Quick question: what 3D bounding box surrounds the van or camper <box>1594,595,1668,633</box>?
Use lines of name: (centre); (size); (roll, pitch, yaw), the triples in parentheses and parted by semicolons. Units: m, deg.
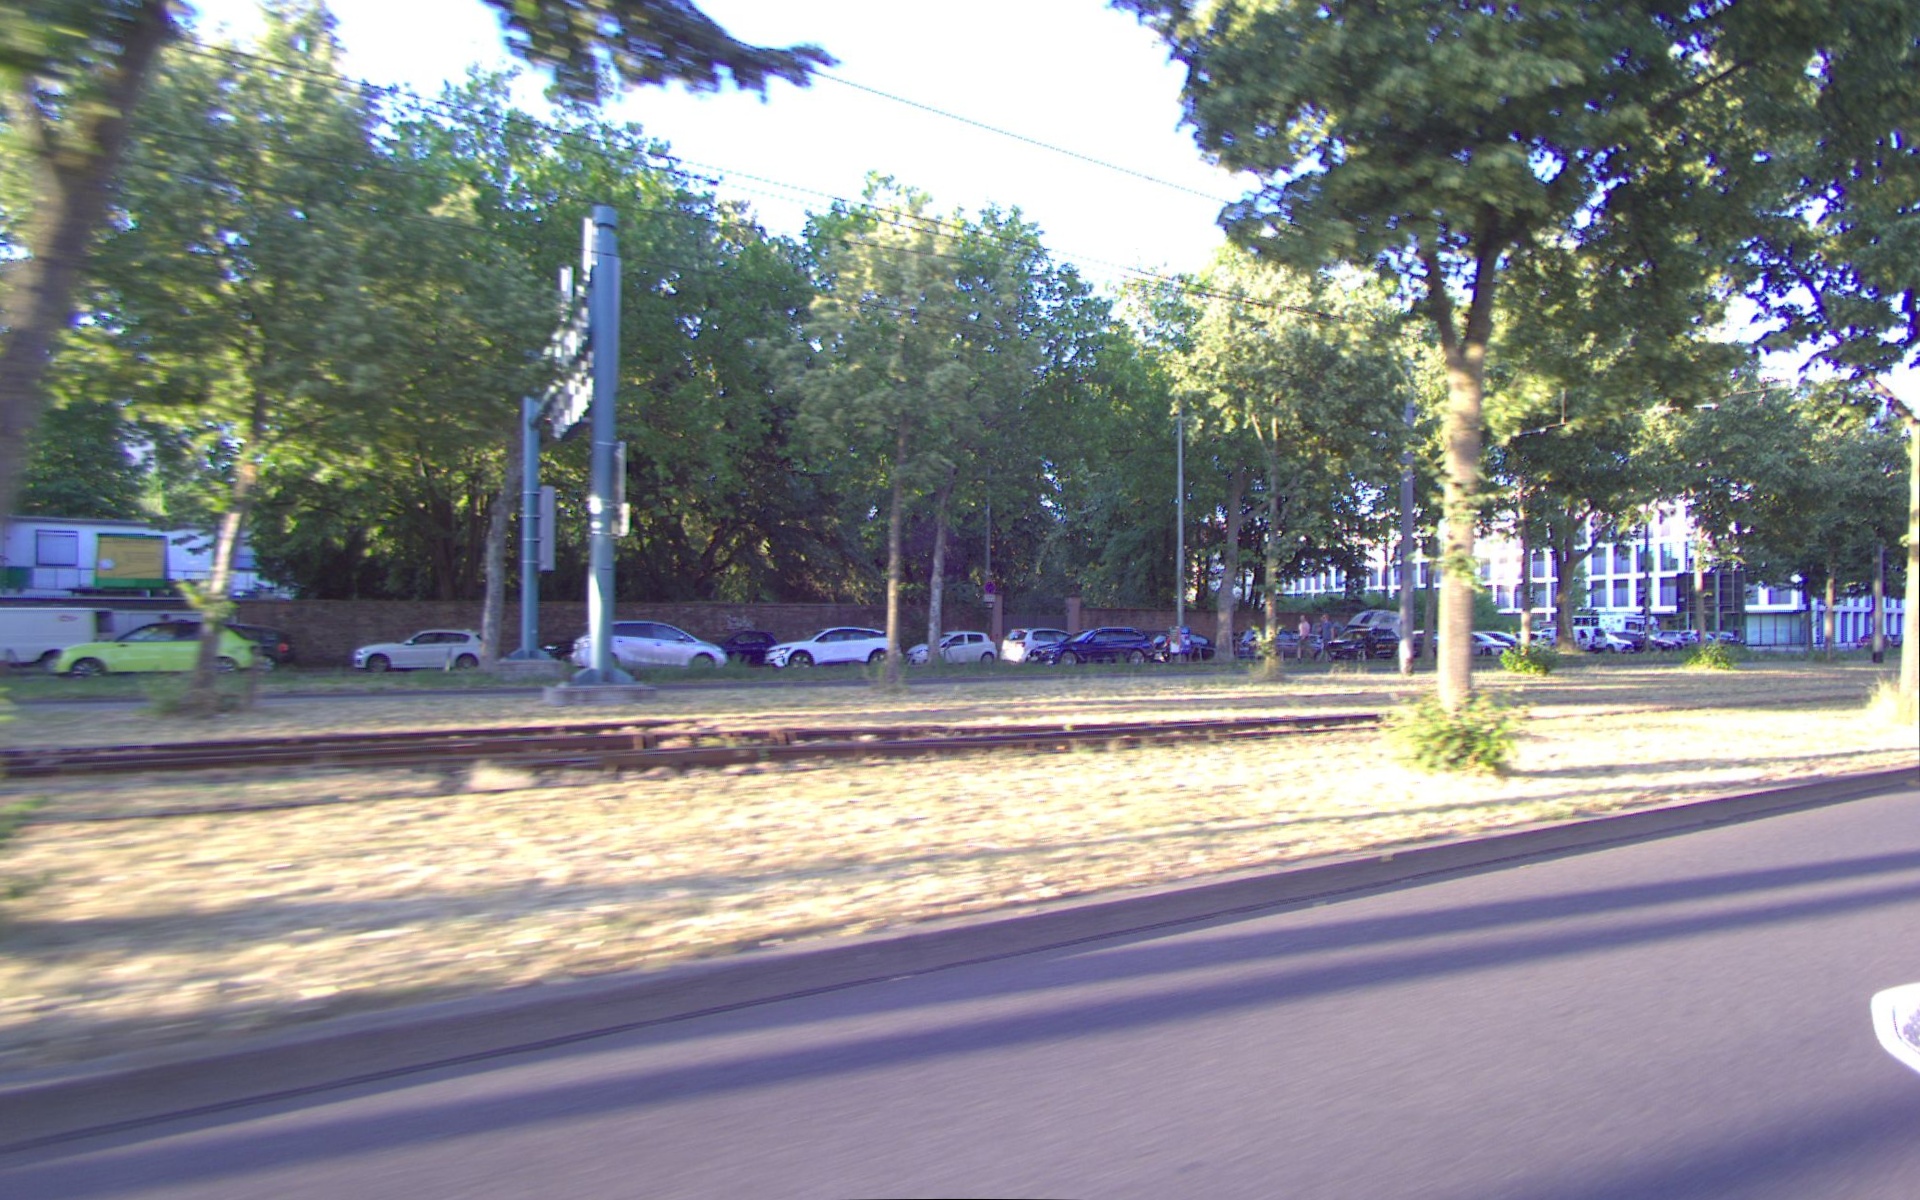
van or camper: (58.340, 1.242, 87.312); (6.180, 3.126, 2.701); (1, -1, -27)

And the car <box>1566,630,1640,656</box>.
car: (44.767, 2.971, 69.983); (1.895, 1.661, 3.979); (1, -1, -23)

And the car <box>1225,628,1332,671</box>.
car: (13.637, 2.091, 43.010); (4.104, 1.773, 1.988); (1, -2, -25)

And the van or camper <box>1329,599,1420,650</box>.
van or camper: (23.647, 1.398, 57.230); (5.434, 2.771, 2.074); (1, -2, -32)

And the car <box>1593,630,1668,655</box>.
car: (47.125, 2.992, 70.684); (1.901, 1.661, 3.964); (1, -1, -33)

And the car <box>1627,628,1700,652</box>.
car: (51.309, 2.887, 73.321); (1.901, 1.661, 3.964); (1, -1, -33)

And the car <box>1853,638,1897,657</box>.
car: (79.930, 4.150, 87.739); (3.450, 1.602, 1.852); (1, -1, -29)

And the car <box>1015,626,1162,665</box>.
car: (4.665, 1.633, 36.291); (5.075, 1.332, 1.987); (1, -2, -27)

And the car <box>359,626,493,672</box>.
car: (-18.440, 1.682, 34.894); (3.997, 1.511, 1.854); (1, -1, -27)

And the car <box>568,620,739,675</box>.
car: (-8.989, 1.371, 29.519); (4.502, 1.518, 1.985); (1, -2, -30)

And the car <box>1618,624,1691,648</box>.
car: (49.840, 2.558, 72.140); (1.901, 1.661, 3.964); (1, -1, -33)

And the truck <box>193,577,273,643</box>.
truck: (-41.504, 0.629, 57.542); (2.259, 3.566, 6.655); (1, -1, -23)

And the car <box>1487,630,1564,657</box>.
car: (37.035, 2.809, 65.873); (1.901, 1.661, 3.964); (1, -1, -33)

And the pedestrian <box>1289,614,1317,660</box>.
pedestrian: (13.471, 1.468, 39.473); (0.858, 1.782, 0.688); (1, -2, -38)

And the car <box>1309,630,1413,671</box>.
car: (18.427, 2.275, 46.116); (4.736, 1.773, 1.984); (1, -2, -31)

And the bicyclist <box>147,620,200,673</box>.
bicyclist: (-23.395, 1.365, 29.891); (1.070, 1.553, 0.726); (1, -1, -24)

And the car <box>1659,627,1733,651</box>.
car: (53.973, 2.858, 73.714); (1.901, 1.661, 3.964); (1, -1, -33)

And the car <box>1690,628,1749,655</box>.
car: (59.435, 3.207, 78.571); (4.875, 2.040, 1.984); (1, -2, -31)

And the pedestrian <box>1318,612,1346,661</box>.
pedestrian: (14.599, 1.427, 39.391); (0.858, 1.895, 0.688); (1, -2, -38)

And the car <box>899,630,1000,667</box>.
car: (-0.449, 2.075, 43.615); (3.943, 1.505, 1.989); (1, -1, -23)

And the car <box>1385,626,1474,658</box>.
car: (23.025, 2.064, 49.224); (3.949, 1.505, 1.986); (1, -2, -27)

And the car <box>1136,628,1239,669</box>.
car: (9.288, 1.955, 40.992); (3.785, 1.581, 1.798); (1, -2, -25)

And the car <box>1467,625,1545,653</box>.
car: (34.567, 2.457, 63.714); (1.901, 1.661, 3.964); (1, -1, -33)

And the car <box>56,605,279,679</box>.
car: (-19.058, 0.990, 24.424); (3.952, 1.661, 1.985); (1, -1, -30)

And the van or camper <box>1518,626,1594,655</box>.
van or camper: (39.808, 2.672, 67.101); (1.984, 1.815, 3.954); (1, -2, -40)

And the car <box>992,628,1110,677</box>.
car: (3.492, 1.985, 38.685); (4.104, 1.773, 1.988); (1, -2, -25)

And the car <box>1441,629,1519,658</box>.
car: (32.485, 2.698, 62.861); (1.898, 1.661, 3.971); (1, -1, -28)

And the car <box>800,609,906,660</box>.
car: (-4.445, 1.416, 41.666); (3.944, 2.040, 1.989); (1, -1, -24)

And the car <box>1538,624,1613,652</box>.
car: (42.215, 2.601, 68.957); (1.988, 1.869, 3.970); (1, -1, -29)

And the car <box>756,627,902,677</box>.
car: (-4.177, 1.628, 32.092); (4.255, 1.519, 1.891); (1, -2, -30)

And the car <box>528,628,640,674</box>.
car: (-13.812, 1.832, 36.908); (3.784, 1.617, 1.761); (1, -1, -24)

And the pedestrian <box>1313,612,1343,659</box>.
pedestrian: (14.014, 1.342, 38.275); (0.857, 1.766, 0.689); (1, -1, -32)

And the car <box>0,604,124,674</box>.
car: (-28.544, 1.152, 30.085); (4.993, 2.040, 1.986); (1, -1, -27)

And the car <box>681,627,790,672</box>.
car: (-8.924, 1.937, 39.909); (3.943, 1.662, 1.989); (1, -1, -23)
